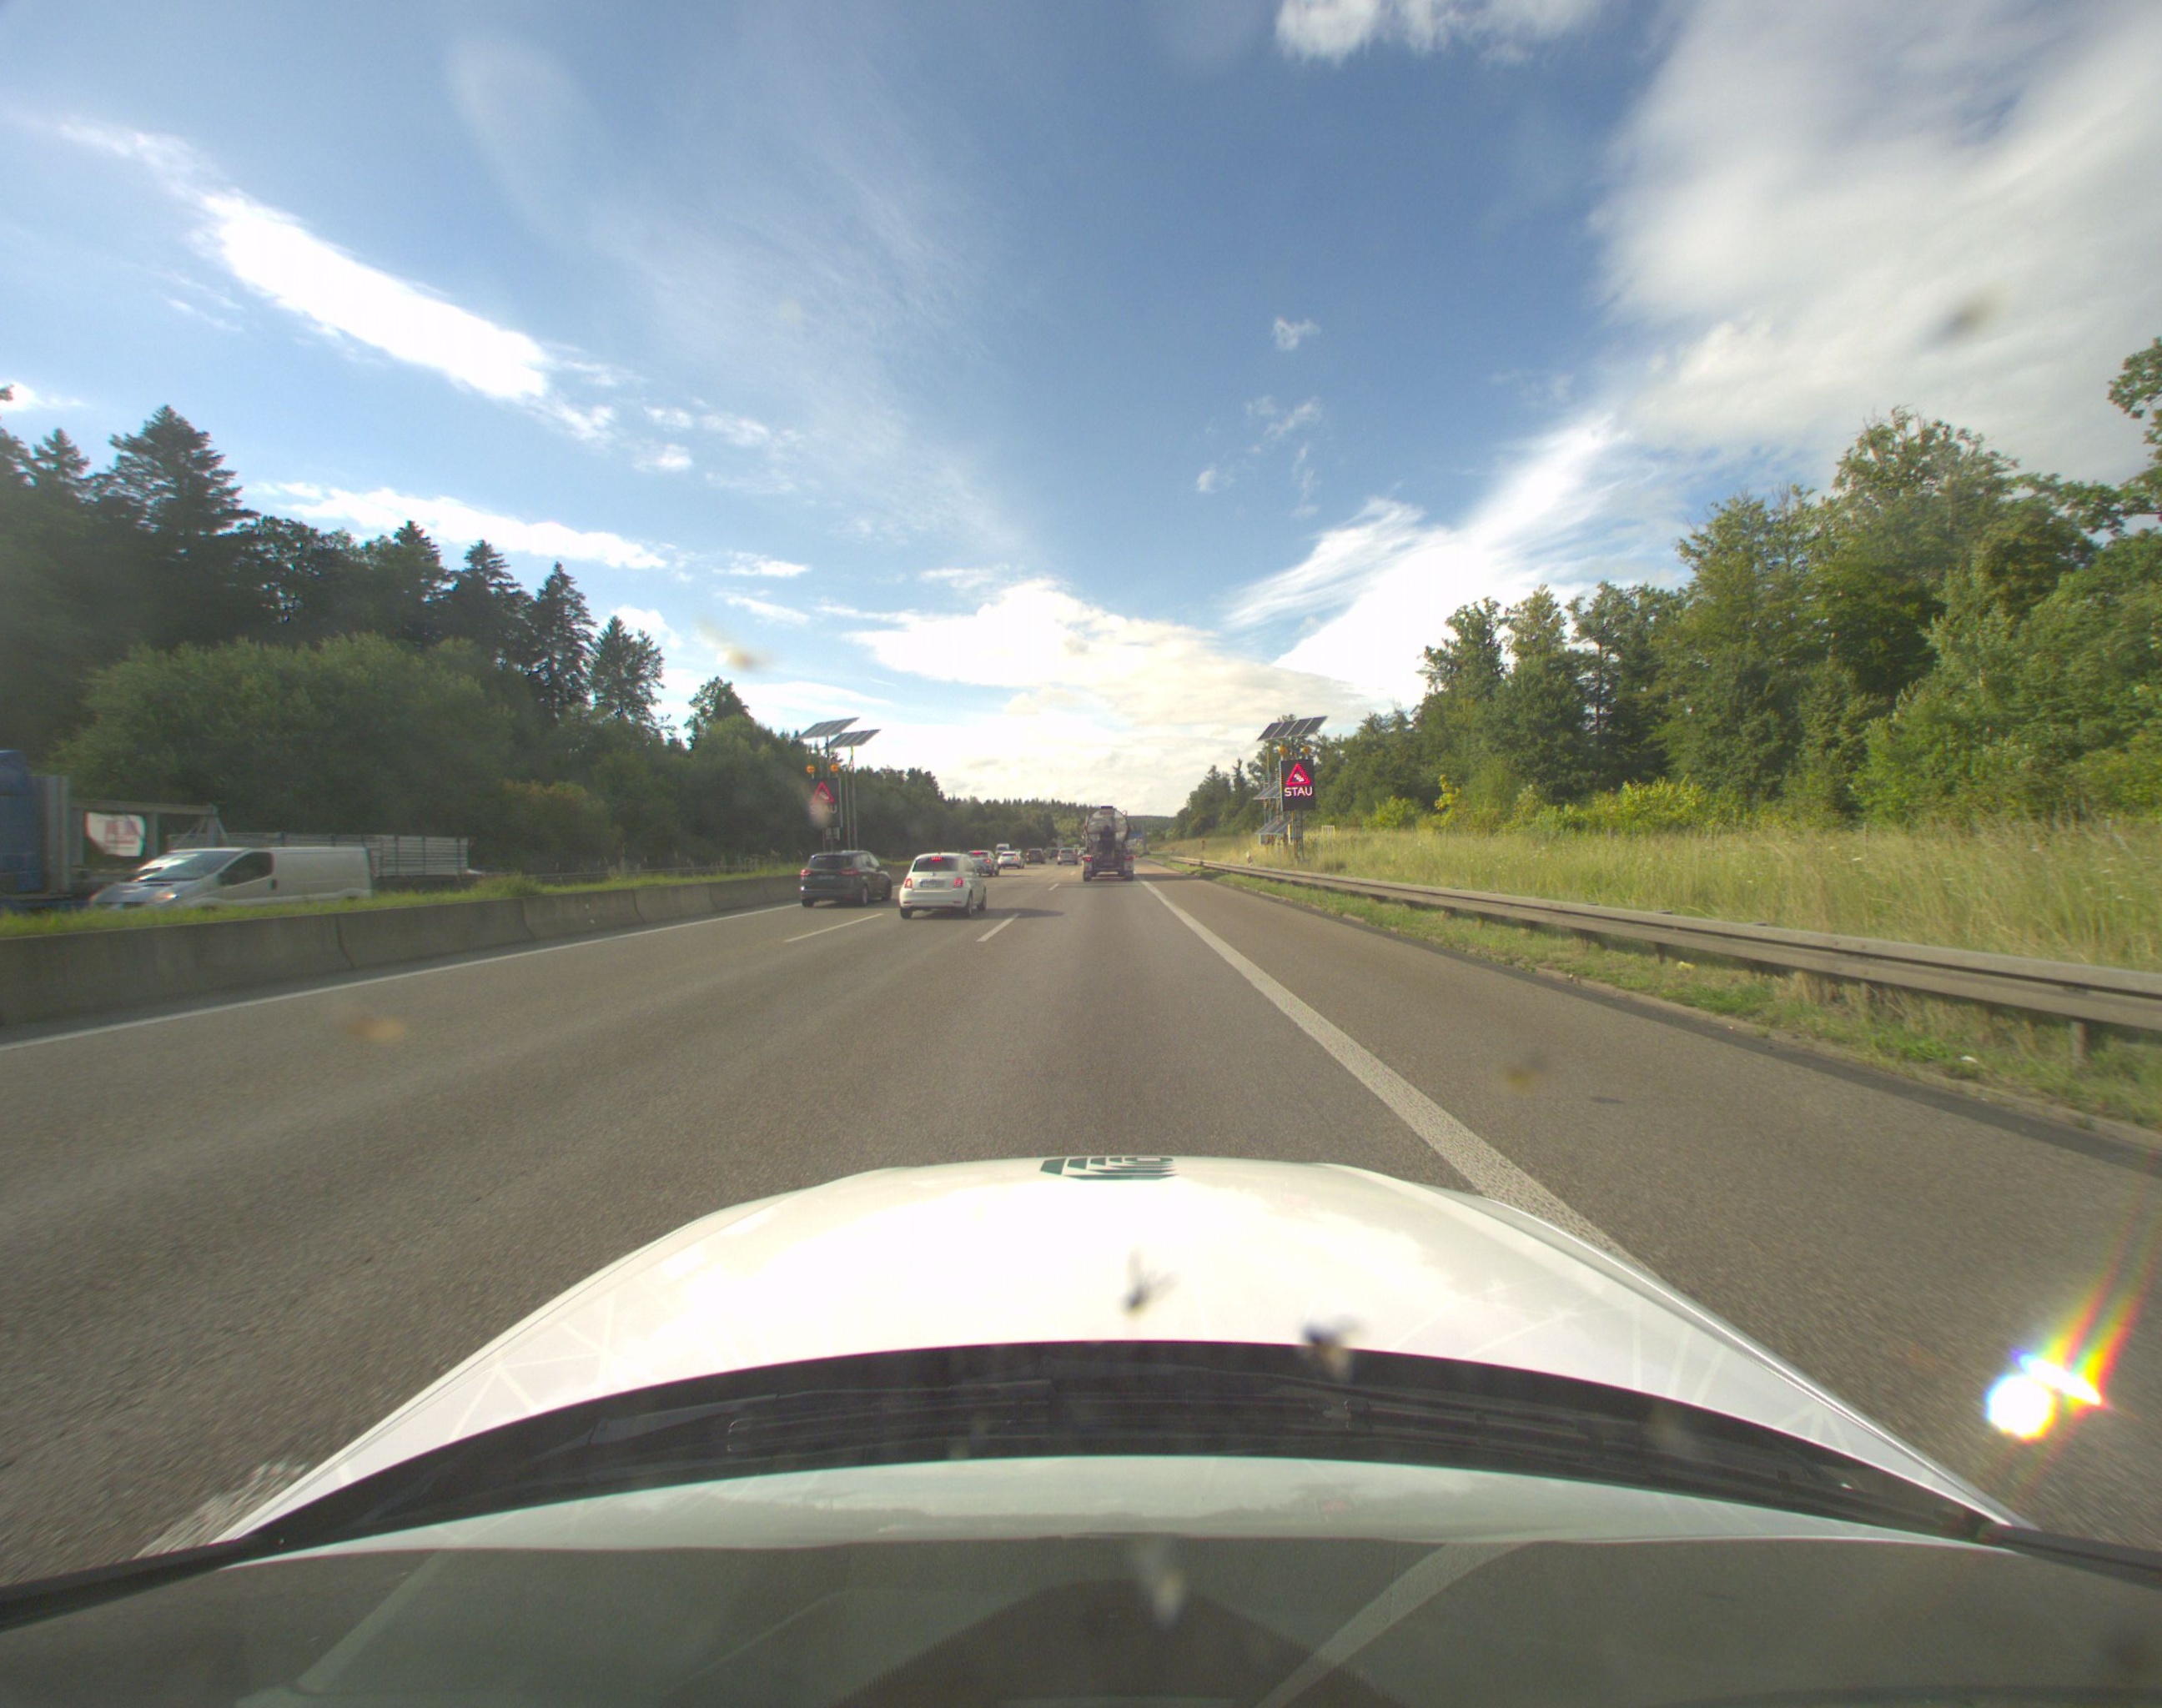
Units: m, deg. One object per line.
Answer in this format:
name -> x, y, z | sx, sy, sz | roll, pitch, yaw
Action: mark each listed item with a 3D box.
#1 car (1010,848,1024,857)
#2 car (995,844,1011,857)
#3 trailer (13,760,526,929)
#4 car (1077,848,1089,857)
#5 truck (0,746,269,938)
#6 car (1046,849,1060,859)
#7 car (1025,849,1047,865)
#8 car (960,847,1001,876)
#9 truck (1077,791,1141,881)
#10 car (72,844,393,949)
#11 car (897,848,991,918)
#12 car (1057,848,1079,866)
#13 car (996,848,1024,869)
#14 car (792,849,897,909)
car -> -15.776, -0.398, 200.902 | 2.569, 2.138, 5.969 | -1, 0, 2
car -> -14.279, -0.593, 149.505 | 2.101, 2.312, 6.727 | -1, 0, 2
trailer -> -22.889, -0.249, 24.897 | 3.112, 3.837, 12.214 | -1, 0, 2
car -> 0.396, -0.311, 142.637 | 1.935, 1.456, 4.209 | 0, 1, 1
truck -> -23.107, -0.219, 17.928 | 3.103, 3.837, 7.126 | -1, 0, 2
car -> -4.303, -0.010, 124.560 | 1.935, 1.456, 4.209 | 0, 1, 1
car -> -4.762, 0.277, 86.281 | 1.935, 1.585, 4.209 | 0, 1, 1
car -> -5.873, 0.388, 48.024 | 1.800, 1.585, 4.209 | 0, 1, 1
truck -> 1.526, -0.887, 43.672 | 2.901, 4.157, 11.276 | -1, 0, 2
car -> -18.649, 0.822, 18.360 | 1.986, 2.013, 4.862 | -1, 0, 2
car -> -3.254, 0.650, 19.938 | 1.612, 1.544, 3.521 | 0, 0, 1
car -> -1.262, 0.260, 80.910 | 1.935, 1.654, 4.209 | 0, 1, 1
car -> -5.794, 0.337, 67.026 | 1.800, 1.585, 4.209 | 0, 1, 1
car -> -6.925, 0.671, 24.310 | 1.800, 1.585, 4.209 | 0, 1, 1
